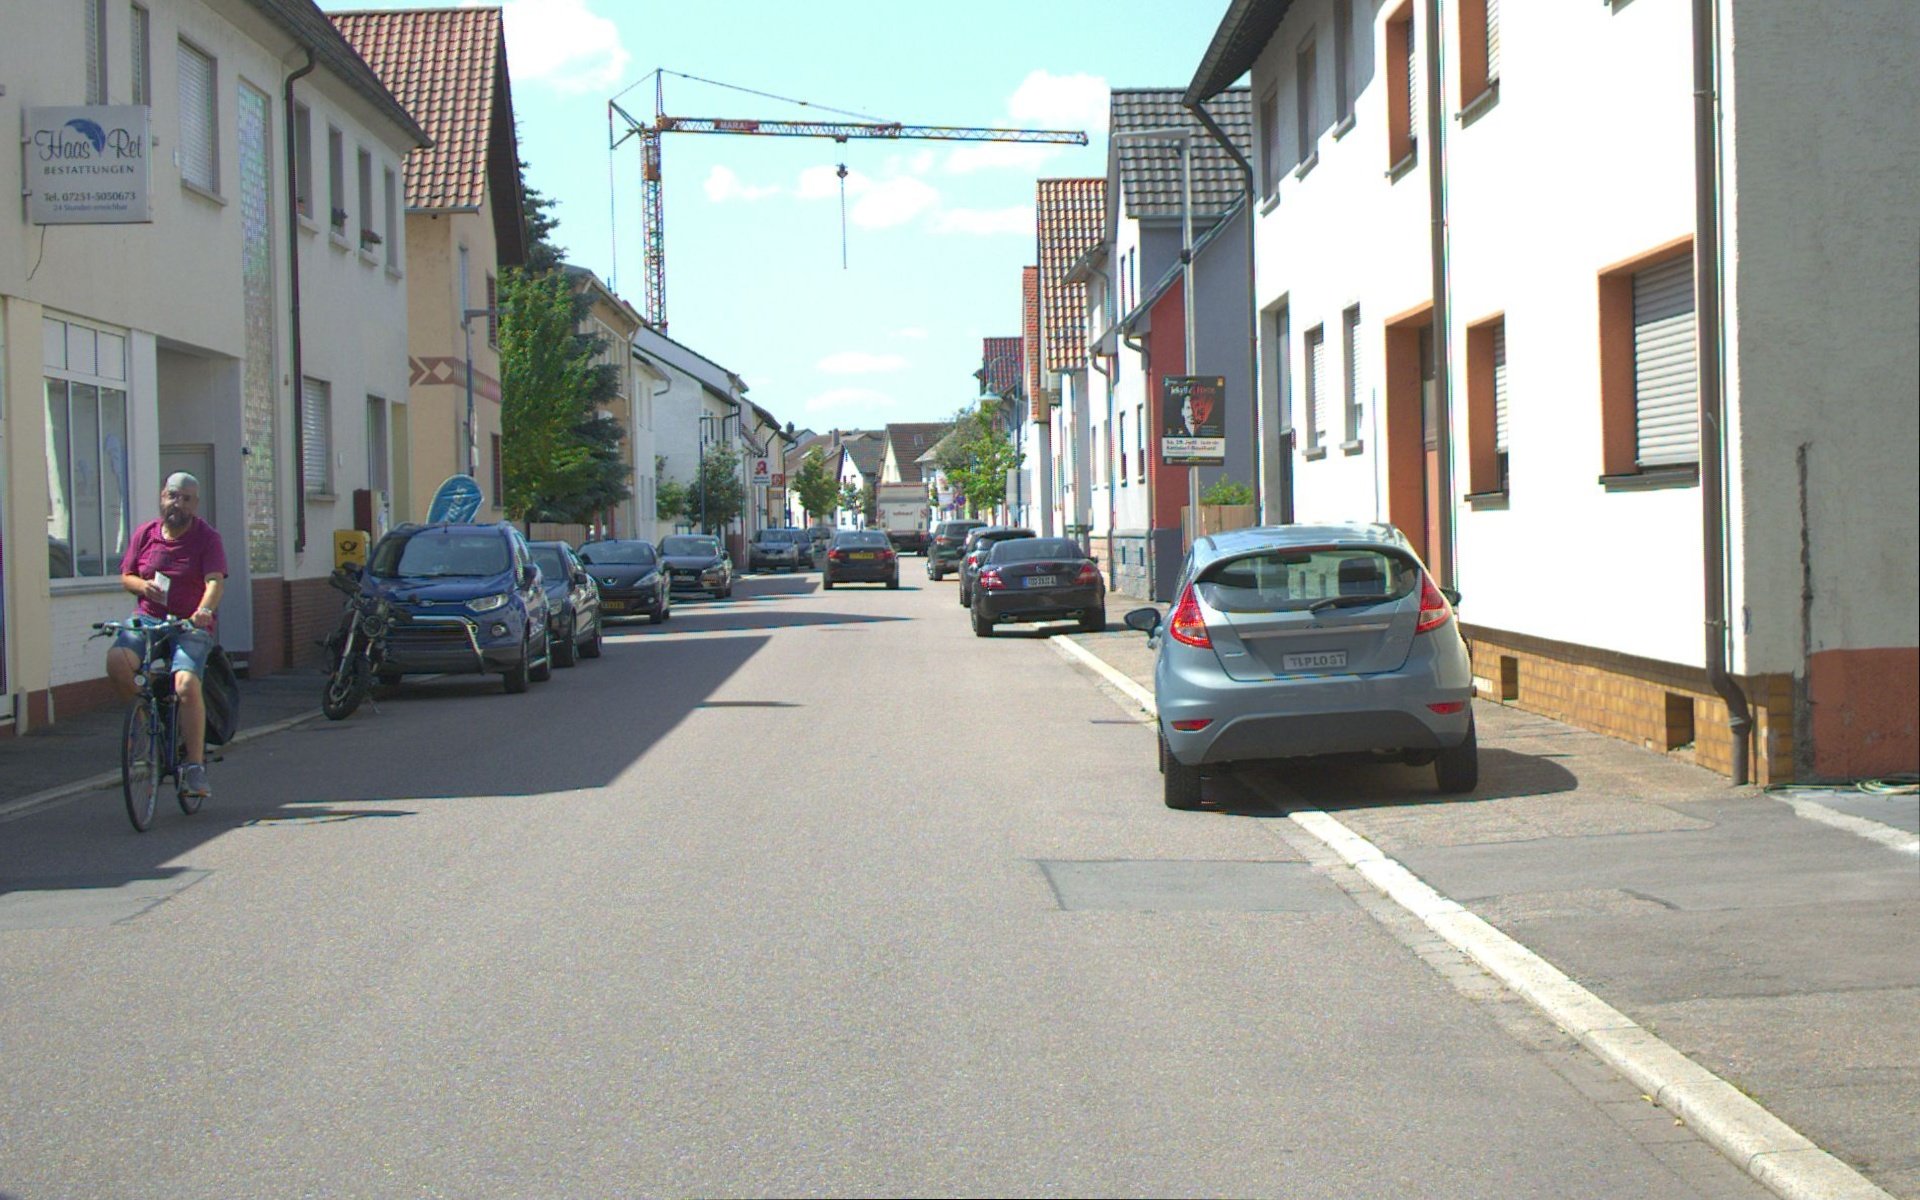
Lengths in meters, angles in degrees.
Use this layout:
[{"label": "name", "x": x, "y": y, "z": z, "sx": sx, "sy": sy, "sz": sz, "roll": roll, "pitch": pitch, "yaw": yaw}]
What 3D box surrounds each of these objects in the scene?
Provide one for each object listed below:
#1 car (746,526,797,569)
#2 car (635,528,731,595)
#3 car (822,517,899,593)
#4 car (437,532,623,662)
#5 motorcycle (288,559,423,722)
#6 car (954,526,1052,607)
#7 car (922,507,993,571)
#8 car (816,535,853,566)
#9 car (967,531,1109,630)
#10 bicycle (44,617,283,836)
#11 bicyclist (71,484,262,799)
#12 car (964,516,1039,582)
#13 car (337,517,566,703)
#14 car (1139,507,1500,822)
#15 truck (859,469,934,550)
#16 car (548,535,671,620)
[{"label": "car", "x": -7.044, "y": -1.976, "z": 128.715, "sx": 1.758, "sy": 1.519, "sz": 4.289, "roll": -2, "pitch": 1, "yaw": -2}, {"label": "car", "x": -6.352, "y": -0.916, "z": 79.287, "sx": 1.768, "sy": 1.455, "sz": 4.436, "roll": -1, "pitch": 1, "yaw": 1}, {"label": "car", "x": -2.461, "y": -1.118, "z": 84.862, "sx": 1.782, "sy": 1.747, "sz": 4.000, "roll": -2, "pitch": 1, "yaw": -2}, {"label": "car", "x": -5.041, "y": -0.075, "z": 40.785, "sx": 1.697, "sy": 1.407, "sz": 4.390, "roll": -1, "pitch": 1, "yaw": -1}, {"label": "motorcycle", "x": -5.169, "y": 0.327, "z": 29.523, "sx": 0.808, "sy": 1.308, "sz": 2.106, "roll": -1, "pitch": 1, "yaw": -2}, {"label": "car", "x": 0.787, "y": -0.652, "z": 64.484, "sx": 1.688, "sy": 1.417, "sz": 3.657, "roll": -2, "pitch": 1, "yaw": -1}, {"label": "car", "x": -0.099, "y": -1.725, "z": 96.931, "sx": 1.728, "sy": 1.711, "sz": 4.276, "roll": -1, "pitch": 1, "yaw": -3}, {"label": "car", "x": -6.374, "y": -2.540, "z": 174.846, "sx": 1.723, "sy": 1.550, "sz": 4.172, "roll": 0, "pitch": 1, "yaw": 0}, {"label": "car", "x": 1.043, "y": -0.304, "z": 47.805, "sx": 1.815, "sy": 1.271, "sz": 4.147, "roll": -1, "pitch": 1, "yaw": 0}, {"label": "bicycle", "x": -4.220, "y": 0.648, "z": 18.357, "sx": 0.743, "sy": 1.044, "sz": 1.940, "roll": -1, "pitch": 1, "yaw": 2}, {"label": "bicyclist", "x": -4.226, "y": 0.205, "z": 18.374, "sx": 0.747, "sy": 1.631, "sz": 0.956, "roll": -1, "pitch": 1, "yaw": 2}, {"label": "car", "x": 0.992, "y": -1.279, "z": 84.767, "sx": 1.617, "sy": 1.490, "sz": 3.972, "roll": -4, "pitch": 1, "yaw": -1}, {"label": "car", "x": -4.954, "y": 0.046, "z": 33.977, "sx": 1.717, "sy": 1.634, "sz": 4.149, "roll": -3, "pitch": 1, "yaw": -2}, {"label": "car", "x": 1.933, "y": 0.285, "z": 19.437, "sx": 1.722, "sy": 1.476, "sz": 3.749, "roll": -5, "pitch": 1, "yaw": 3}, {"label": "truck", "x": -3.327, "y": -4.534, "z": 175.675, "sx": 3.378, "sy": 3.852, "sz": 13.928, "roll": -2, "pitch": 1, "yaw": -2}, {"label": "car", "x": -5.914, "y": -0.408, "z": 58.314, "sx": 1.761, "sy": 1.369, "sz": 4.067, "roll": 0, "pitch": 1, "yaw": -1}]
